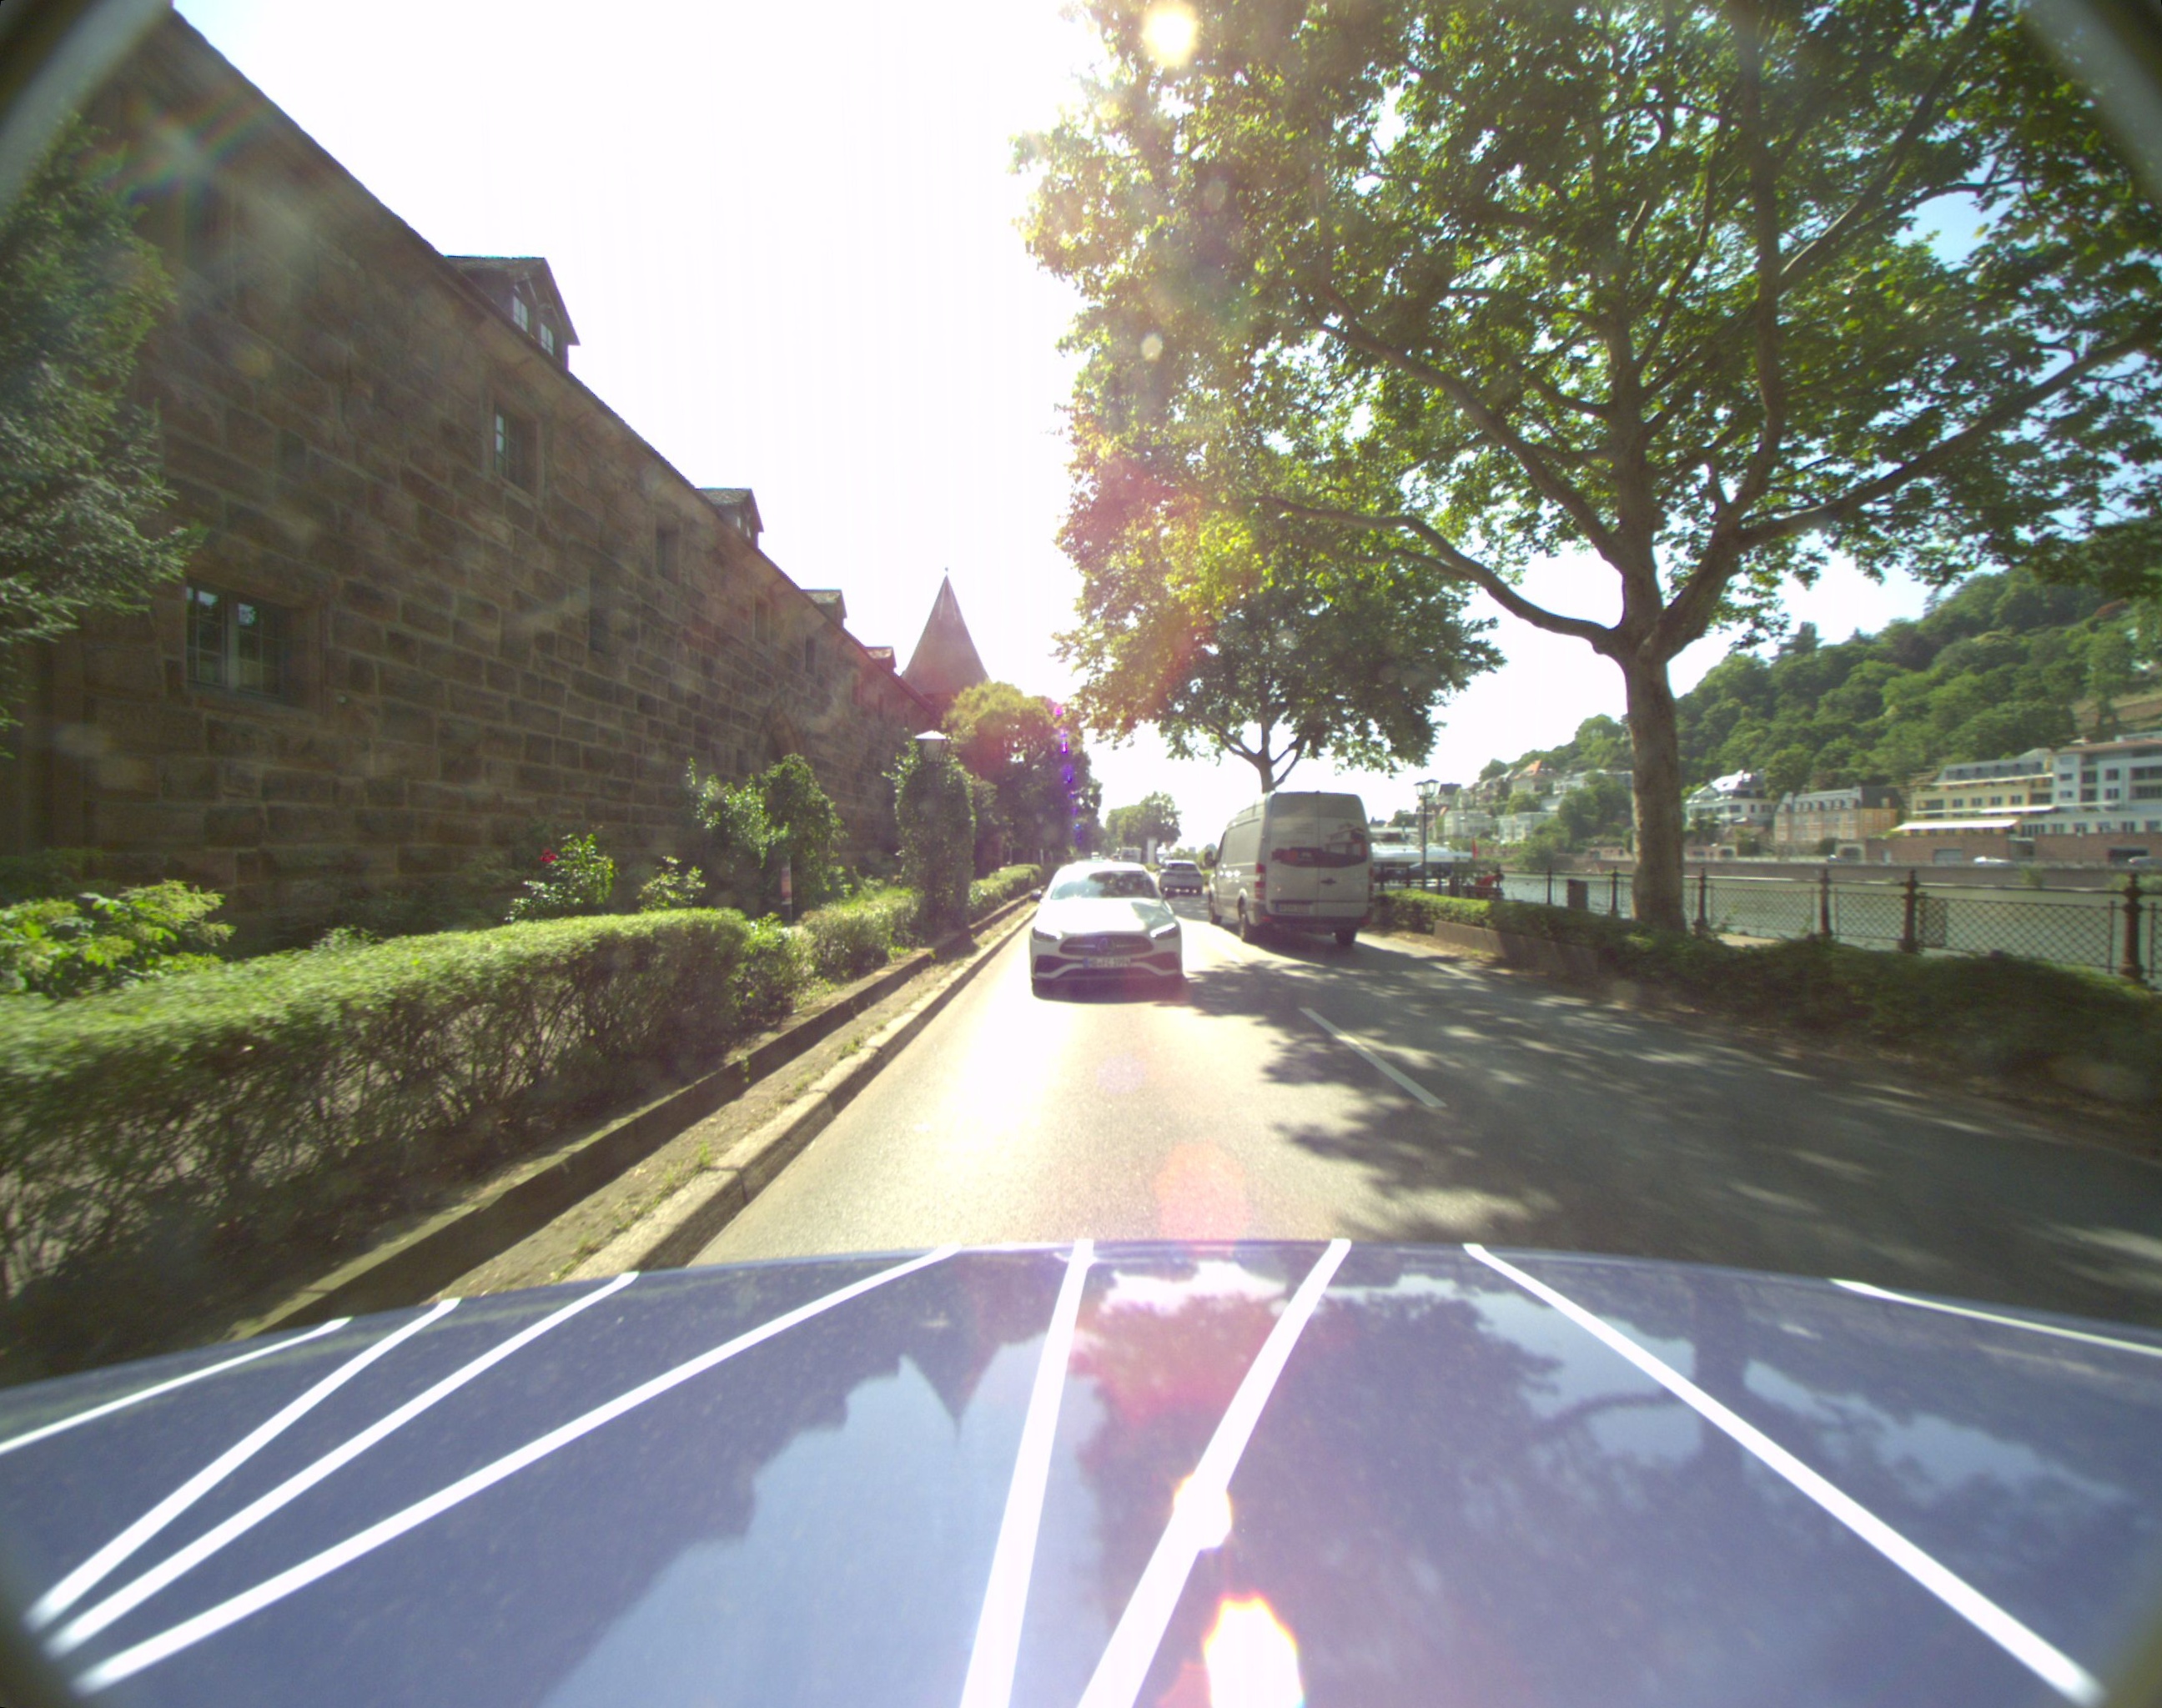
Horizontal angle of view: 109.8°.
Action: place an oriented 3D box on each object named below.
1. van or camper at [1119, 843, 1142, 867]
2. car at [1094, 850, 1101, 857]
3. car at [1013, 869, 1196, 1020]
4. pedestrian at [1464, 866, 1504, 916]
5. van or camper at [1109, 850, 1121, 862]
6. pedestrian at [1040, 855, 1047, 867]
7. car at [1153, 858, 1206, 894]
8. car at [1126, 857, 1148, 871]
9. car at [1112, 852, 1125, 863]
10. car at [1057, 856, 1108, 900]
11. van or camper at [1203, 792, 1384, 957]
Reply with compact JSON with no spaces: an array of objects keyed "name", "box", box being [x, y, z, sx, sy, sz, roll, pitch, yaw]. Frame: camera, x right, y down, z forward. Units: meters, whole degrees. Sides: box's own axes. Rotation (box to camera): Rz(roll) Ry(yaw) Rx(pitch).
[{"name":"van or camper","box":[5.877,0.056,90.444,2.328,2.647,6.264,2,1,1]},{"name":"car","box":[4.565,-0.216,209.629,1.923,1.975,4.000,1,0,1]},{"name":"car","box":[0.281,0.958,9.858,1.829,1.418,4.359,-1,0,1]},{"name":"pedestrian","box":[10.882,0.995,20.547,0.704,1.300,0.656,-2,1,2]},{"name":"van or camper","box":[5.811,0.374,129.076,1.923,1.975,4.000,1,0,1]},{"name":"pedestrian","box":[-3.739,0.708,75.726,0.632,1.186,0.747,-2,1,3]},{"name":"car","box":[4.321,0.942,34.072,1.774,1.448,4.534,1,0,0]},{"name":"car","box":[5.334,0.962,72.999,1.703,1.204,3.484,1,0,-3]},{"name":"car","box":[5.454,0.516,110.703,1.826,1.603,3.960,1,0,2]},{"name":"car","box":[0.102,0.894,30.067,1.853,1.543,3.849,1,0,2]},{"name":"van or camper","box":[3.840,0.306,15.002,1.965,2.552,5.840,2,1,1]}]
